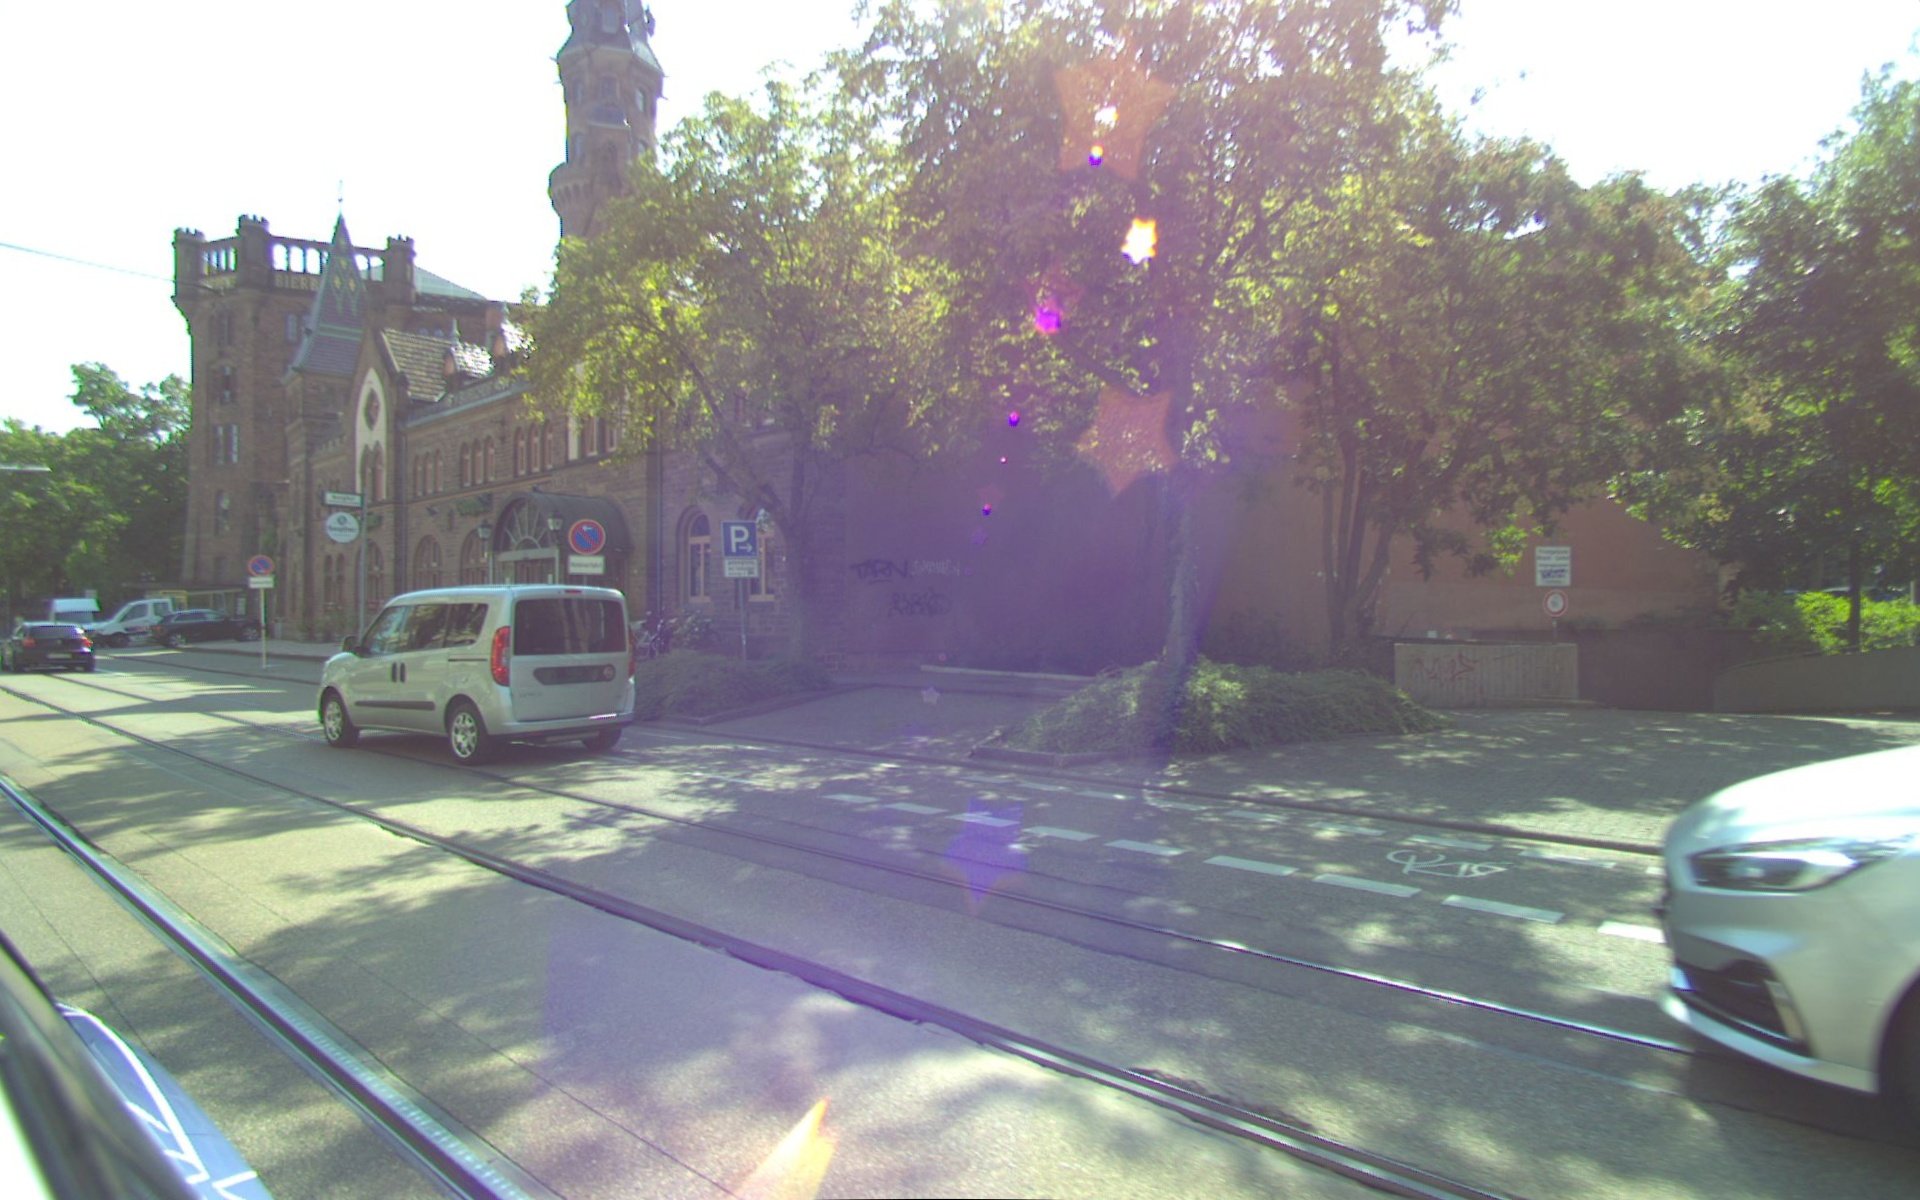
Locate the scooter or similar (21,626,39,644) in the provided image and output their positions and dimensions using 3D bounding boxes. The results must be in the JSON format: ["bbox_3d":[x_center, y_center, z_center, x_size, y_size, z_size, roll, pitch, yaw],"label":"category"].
[{"bbox_3d":[-60.937,2.299,66.293,1.309,1.187,0.418,-1,-1,26],"label":"scooter or similar"}]

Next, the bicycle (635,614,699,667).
[{"bbox_3d":[-6.759,0.925,23.397,0.399,1.101,1.438,-1,2,37],"label":"bicycle"}]

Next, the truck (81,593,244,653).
[{"bbox_3d":[-40.592,1.123,51.638,6.248,2.557,2.132,-4,0,-44],"label":"truck"}]

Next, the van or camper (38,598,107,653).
[{"bbox_3d":[-46.155,1.313,52.594,5.954,2.695,2.090,-1,-1,43],"label":"van or camper"}]

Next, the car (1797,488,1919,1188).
[{"bbox_3d":[4.384,0.541,1.862,4.344,1.696,1.762,-1,-1,40],"label":"car"}]

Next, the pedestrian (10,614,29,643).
[{"bbox_3d":[-65.882,1.991,70.879,0.982,2.029,0.855,-1,-1,39],"label":"pedestrian"}]

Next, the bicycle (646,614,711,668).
[{"bbox_3d":[-6.419,0.917,23.102,0.399,1.101,1.438,-1,2,37],"label":"bicycle"}]

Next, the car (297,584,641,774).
[{"bbox_3d":[-5.637,0.787,11.477,3.989,1.810,1.733,-1,-1,34],"label":"car"}]

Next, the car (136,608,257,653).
[{"bbox_3d":[-35.393,1.377,46.976,1.999,1.756,4.093,-2,2,42],"label":"car"}]

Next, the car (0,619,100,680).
[{"bbox_3d":[-25.731,1.366,28.531,4.204,1.583,1.663,-1,-3,42],"label":"car"}]
